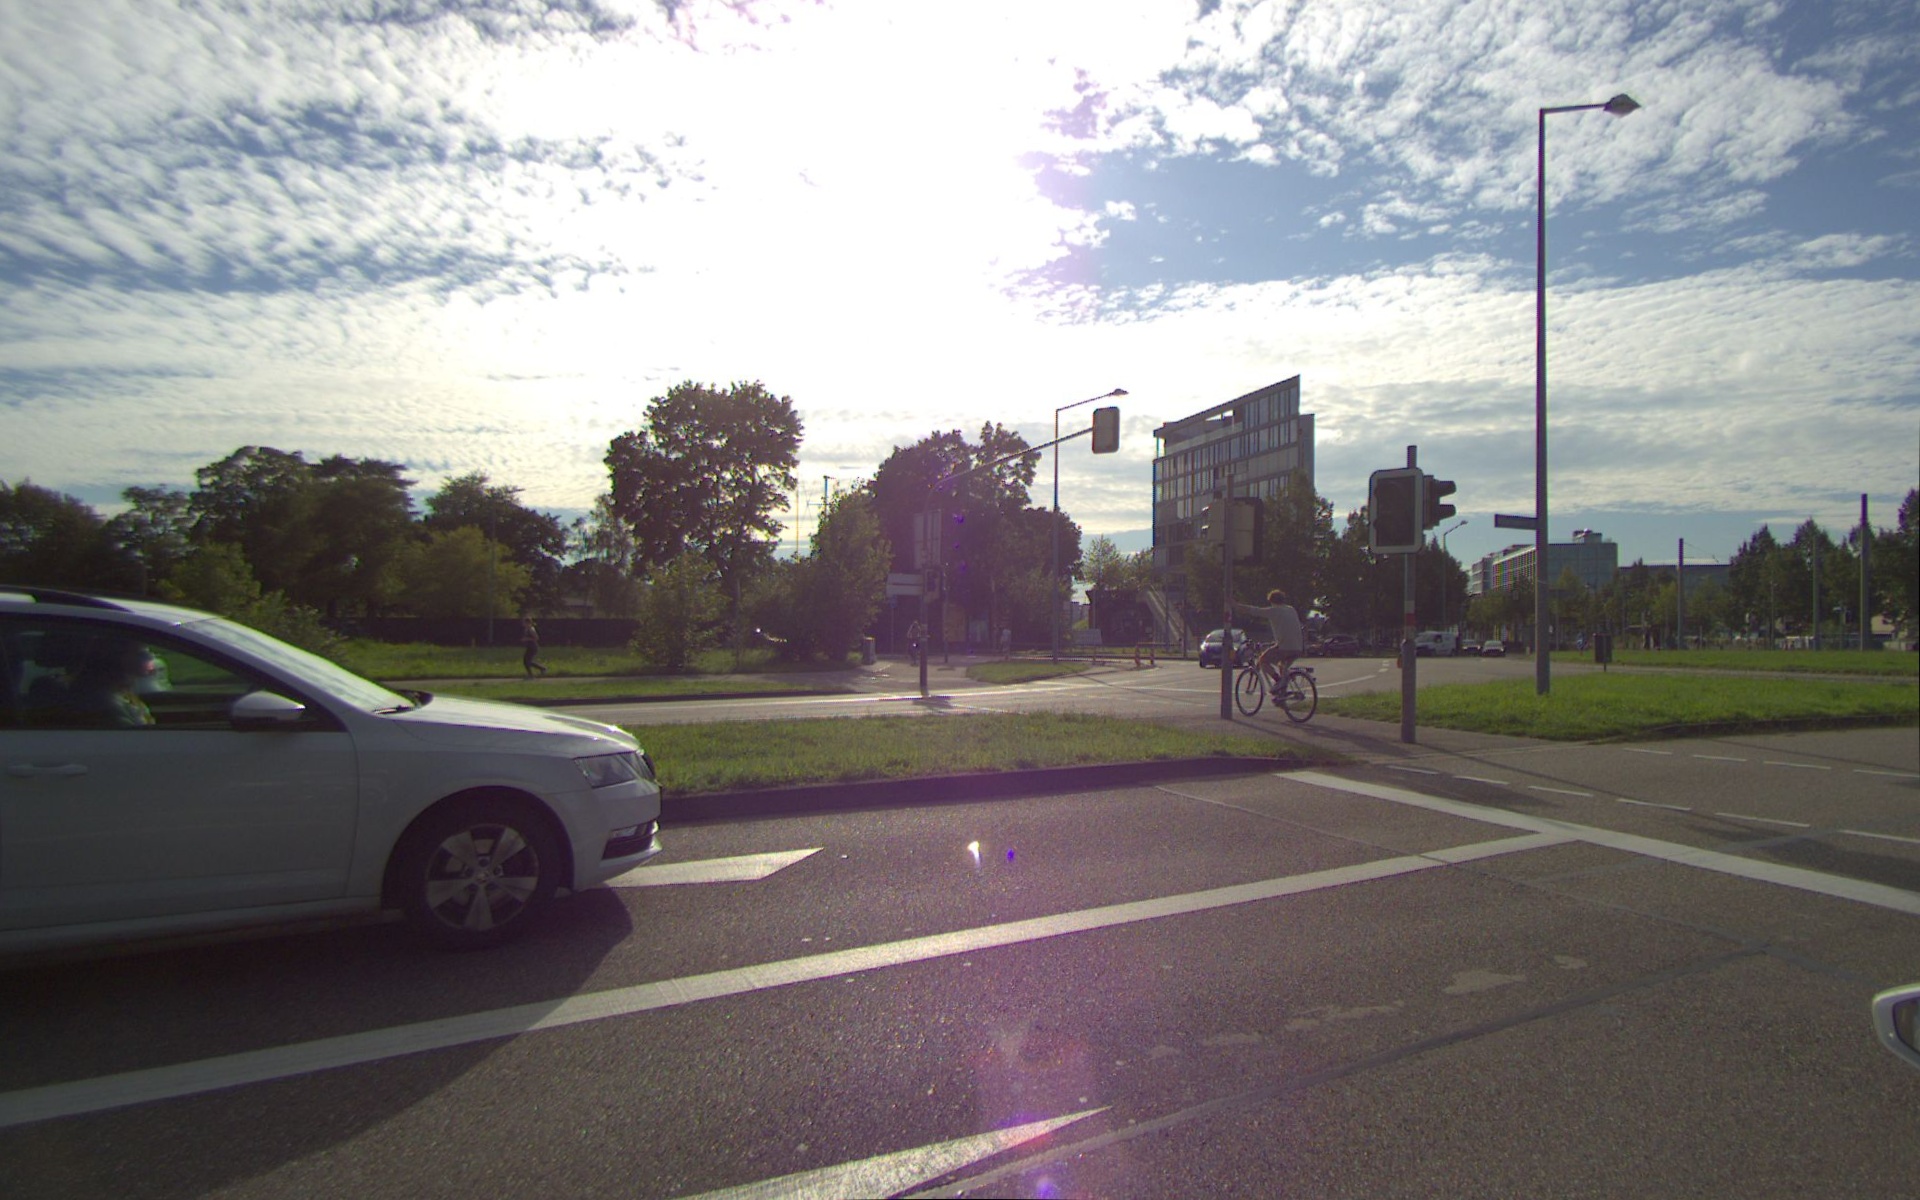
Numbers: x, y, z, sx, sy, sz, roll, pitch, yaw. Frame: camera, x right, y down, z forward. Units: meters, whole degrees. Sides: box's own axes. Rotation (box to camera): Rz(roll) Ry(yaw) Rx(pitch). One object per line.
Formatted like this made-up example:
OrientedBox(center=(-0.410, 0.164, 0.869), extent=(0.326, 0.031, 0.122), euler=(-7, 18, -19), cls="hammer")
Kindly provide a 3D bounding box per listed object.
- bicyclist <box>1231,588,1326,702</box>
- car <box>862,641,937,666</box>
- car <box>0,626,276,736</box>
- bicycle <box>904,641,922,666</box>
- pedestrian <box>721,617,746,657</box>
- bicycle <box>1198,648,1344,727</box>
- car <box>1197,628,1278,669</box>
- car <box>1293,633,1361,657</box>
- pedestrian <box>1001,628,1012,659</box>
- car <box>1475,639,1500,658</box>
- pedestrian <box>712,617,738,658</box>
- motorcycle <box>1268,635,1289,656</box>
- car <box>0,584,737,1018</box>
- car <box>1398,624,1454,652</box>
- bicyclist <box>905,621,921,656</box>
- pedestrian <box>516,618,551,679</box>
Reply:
OrientedBox(center=(4.566, 0.637, 14.434), extent=(0.984, 1.576, 0.860), euler=(1, -2, -25), cls="bicyclist")
OrientedBox(center=(-3.343, 2.988, 56.255), extent=(3.913, 1.293, 1.687), euler=(0, -2, 8), cls="car")
OrientedBox(center=(-12.372, 1.122, 14.547), extent=(3.950, 1.452, 1.671), euler=(2, -2, -32), cls="car")
OrientedBox(center=(-2.007, 2.254, 42.690), extent=(0.600, 1.001, 1.835), euler=(0, -1, -9), cls="bicycle")
OrientedBox(center=(-11.234, 1.829, 49.886), extent=(0.879, 1.942, 0.867), euler=(2, 0, 13), cls="pedestrian")
OrientedBox(center=(4.484, 1.232, 14.616), extent=(0.988, 1.020, 1.949), euler=(1, -2, -25), cls="bicycle")
OrientedBox(center=(11.136, 1.945, 40.220), extent=(1.755, 1.520, 3.979), euler=(-3, -4, 37), cls="car")
OrientedBox(center=(23.159, 2.819, 63.375), extent=(3.945, 1.439, 1.758), euler=(1, -2, -25), cls="car")
OrientedBox(center=(2.483, 2.341, 53.761), extent=(0.495, 1.646, 0.548), euler=(0, -1, 9), cls="pedestrian")
OrientedBox(center=(42.889, 3.965, 81.665), extent=(1.655, 1.520, 3.989), euler=(-3, -4, 28), cls="car")
OrientedBox(center=(-11.487, 1.823, 49.042), extent=(0.879, 1.942, 0.867), euler=(2, 0, 13), cls="pedestrian")
OrientedBox(center=(16.328, 2.336, 51.471), extent=(0.768, 0.999, 2.025), euler=(0, -1, 11), cls="motorcycle")
OrientedBox(center=(-3.478, 0.686, 4.316), extent=(4.583, 1.464, 1.842), euler=(2, -1, -30), cls="car")
OrientedBox(center=(31.965, 2.638, 68.874), extent=(4.523, 1.848, 1.667), euler=(2, -4, -39), cls="car")
OrientedBox(center=(-1.979, 1.619, 42.619), extent=(0.600, 1.465, 0.697), euler=(1, -1, -9), cls="bicyclist")
OrientedBox(center=(-11.023, 1.256, 25.952), extent=(0.747, 1.528, 0.624), euler=(2, 1, -29), cls="pedestrian")
